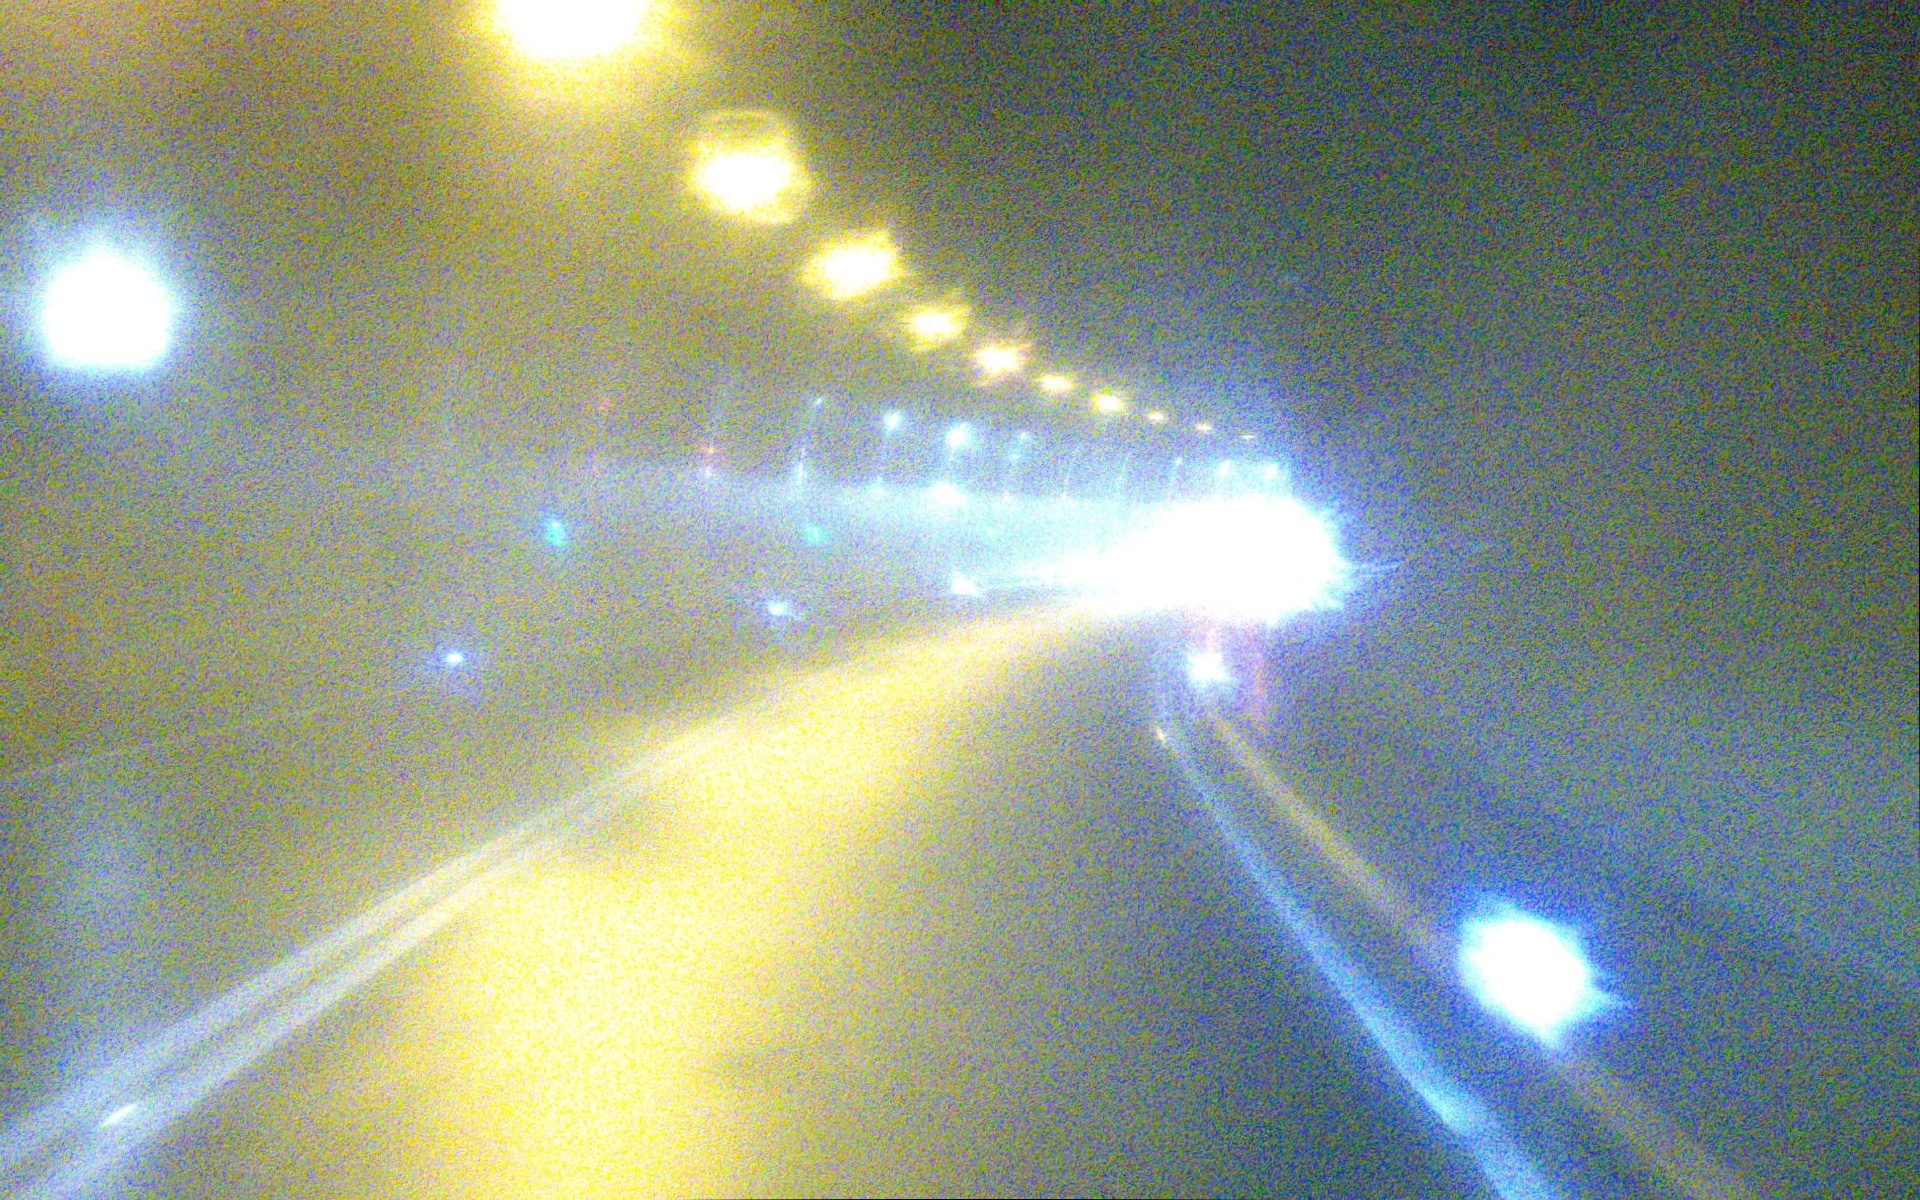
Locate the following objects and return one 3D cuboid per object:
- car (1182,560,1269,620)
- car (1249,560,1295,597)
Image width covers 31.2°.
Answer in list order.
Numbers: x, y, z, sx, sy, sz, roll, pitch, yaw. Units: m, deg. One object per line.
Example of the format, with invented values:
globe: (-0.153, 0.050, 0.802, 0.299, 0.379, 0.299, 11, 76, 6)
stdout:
car: (7.687, -0.312, 99.235, 1.994, 1.645, 3.998, 1, 1, 11)
car: (12.888, -0.906, 142.234, 1.626, 1.442, 3.936, 1, 1, 2)
